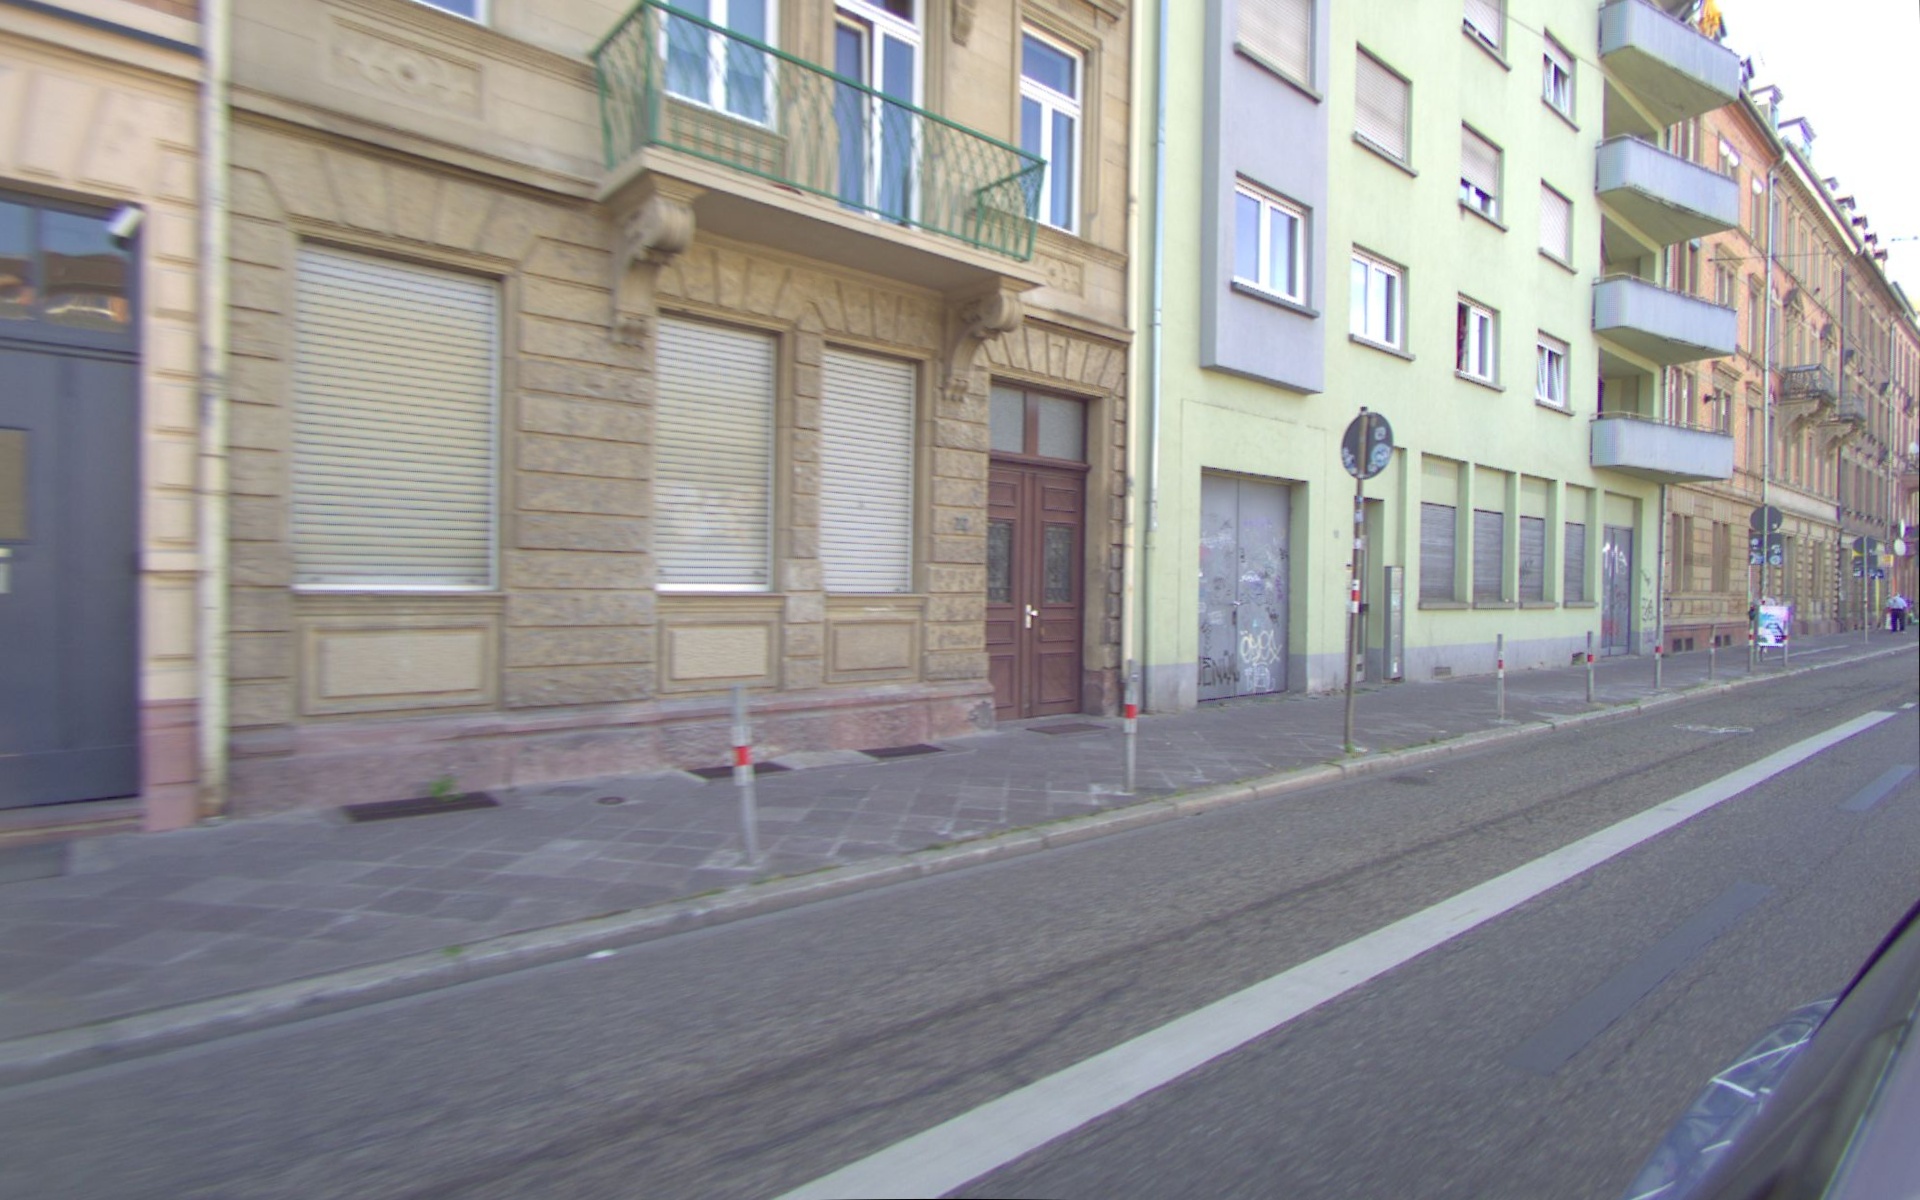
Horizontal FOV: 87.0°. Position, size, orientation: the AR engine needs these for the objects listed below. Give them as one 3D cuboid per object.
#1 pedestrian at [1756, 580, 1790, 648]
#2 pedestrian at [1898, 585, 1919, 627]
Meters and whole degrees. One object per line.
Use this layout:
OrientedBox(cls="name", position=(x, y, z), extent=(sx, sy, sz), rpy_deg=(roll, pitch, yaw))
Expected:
OrientedBox(cls="pedestrian", position=(21.006, 0.343, 26.149), extent=(0.465, 1.721, 0.554), rpy_deg=(-1, 3, -40))
OrientedBox(cls="pedestrian", position=(38.157, 0.232, 40.513), extent=(0.640, 1.625, 0.800), rpy_deg=(-1, 1, -38))
